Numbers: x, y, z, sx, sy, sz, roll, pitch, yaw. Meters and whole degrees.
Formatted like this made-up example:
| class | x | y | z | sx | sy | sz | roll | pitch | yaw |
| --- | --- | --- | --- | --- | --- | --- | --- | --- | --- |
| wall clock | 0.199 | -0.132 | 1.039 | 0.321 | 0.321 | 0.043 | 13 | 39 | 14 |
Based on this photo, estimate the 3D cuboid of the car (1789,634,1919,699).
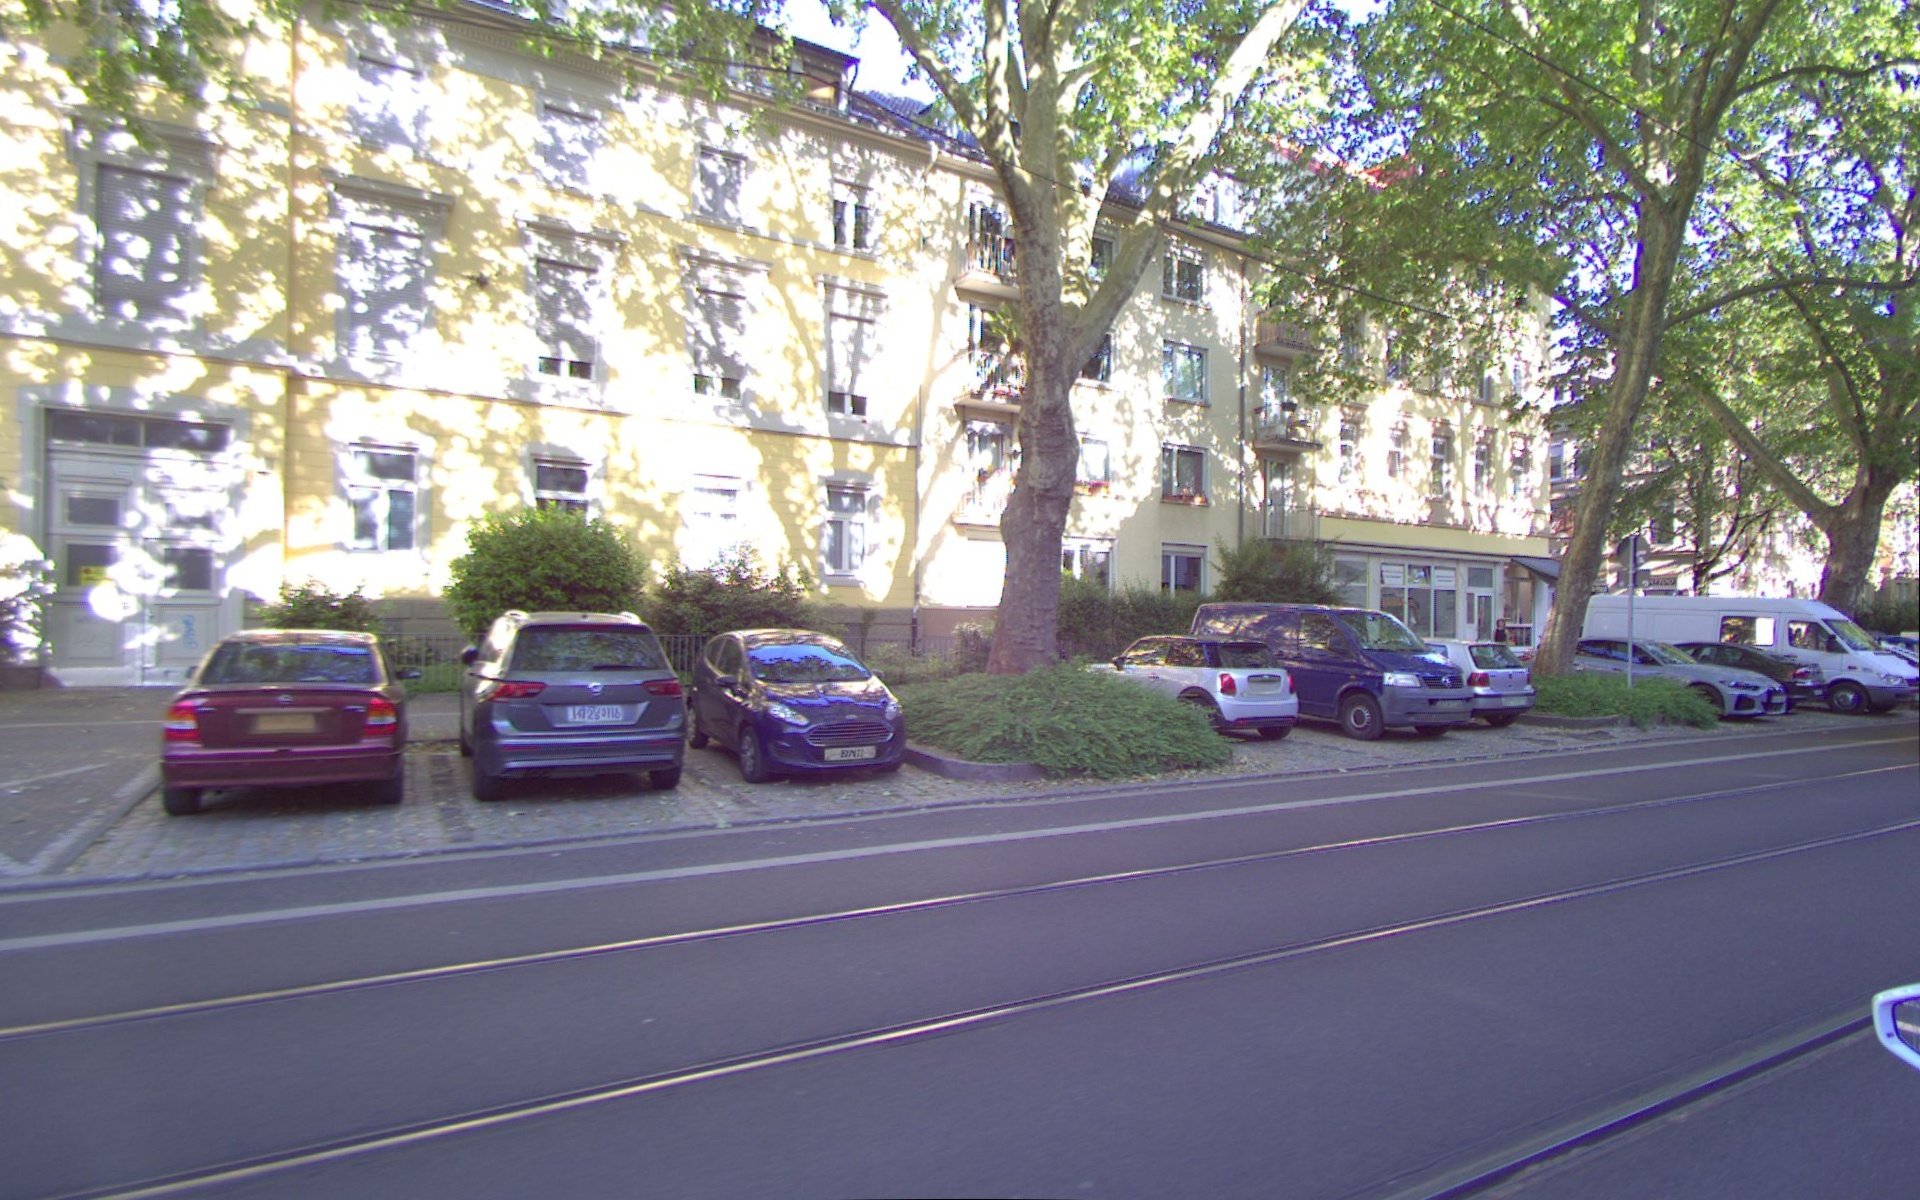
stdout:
| class | x | y | z | sx | sy | sz | roll | pitch | yaw |
| --- | --- | --- | --- | --- | --- | --- | --- | --- | --- |
| car | 24.653 | 1.765 | 26.554 | 1.659 | 1.518 | 3.898 | 2 | 0 | -32 |

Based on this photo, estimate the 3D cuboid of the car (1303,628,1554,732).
| class | x | y | z | sx | sy | sz | roll | pitch | yaw |
| --- | --- | --- | --- | --- | --- | --- | --- | --- | --- |
| car | 8.067 | 1.312 | 17.625 | 1.618 | 1.449 | 3.717 | 2 | 0 | -29 |

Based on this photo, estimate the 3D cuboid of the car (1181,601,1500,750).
| class | x | y | z | sx | sy | sz | roll | pitch | yaw |
| --- | --- | --- | --- | --- | --- | --- | --- | --- | --- |
| car | 5.909 | 1.057 | 16.247 | 1.955 | 1.949 | 4.655 | 2 | 0 | -28 |

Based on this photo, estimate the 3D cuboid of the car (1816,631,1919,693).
| class | x | y | z | sx | sy | sz | roll | pitch | yaw |
| --- | --- | --- | --- | --- | --- | --- | --- | --- | --- |
| car | 26.686 | 1.763 | 28.043 | 1.659 | 1.598 | 3.898 | 2 | 0 | -32 |

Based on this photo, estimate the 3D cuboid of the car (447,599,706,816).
| class | x | y | z | sx | sy | sz | roll | pitch | yaw |
| --- | --- | --- | --- | --- | --- | --- | --- | --- | --- |
| car | -4.052 | 0.881 | 10.181 | 1.857 | 1.648 | 3.976 | 2 | 0 | -30 |

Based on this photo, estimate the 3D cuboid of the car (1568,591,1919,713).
| class | x | y | z | sx | sy | sz | roll | pitch | yaw |
| --- | --- | --- | --- | --- | --- | --- | --- | --- | --- |
| car | 18.639 | 1.079 | 24.085 | 2.428 | 2.441 | 6.598 | 2 | 0 | -29 |

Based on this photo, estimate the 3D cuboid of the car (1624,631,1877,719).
| class | x | y | z | sx | sy | sz | roll | pitch | yaw |
| --- | --- | --- | --- | --- | --- | --- | --- | --- | --- |
| car | 16.714 | 1.520 | 21.425 | 1.659 | 1.518 | 3.898 | 2 | 0 | -32 |

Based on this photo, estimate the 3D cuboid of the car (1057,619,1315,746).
| class | x | y | z | sx | sy | sz | roll | pitch | yaw |
| --- | --- | --- | --- | --- | --- | --- | --- | --- | --- |
| car | 3.253 | 1.130 | 15.156 | 1.726 | 1.518 | 3.717 | 2 | 0 | -29 |

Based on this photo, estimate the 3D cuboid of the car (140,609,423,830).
| class | x | y | z | sx | sy | sz | roll | pitch | yaw |
| --- | --- | --- | --- | --- | --- | --- | --- | --- | --- |
| car | -5.978 | 0.891 | 9.250 | 1.728 | 1.461 | 3.902 | 2 | 0 | -29 |

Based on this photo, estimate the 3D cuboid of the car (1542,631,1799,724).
| class | x | y | z | sx | sy | sz | roll | pitch | yaw |
| --- | --- | --- | --- | --- | --- | --- | --- | --- | --- |
| car | 14.245 | 1.486 | 20.374 | 1.656 | 1.518 | 3.903 | 2 | 0 | -28 |

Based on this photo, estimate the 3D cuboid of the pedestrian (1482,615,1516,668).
| class | x | y | z | sx | sy | sz | roll | pitch | yaw |
| --- | --- | --- | --- | --- | --- | --- | --- | --- | --- |
| pedestrian | 15.971 | 1.230 | 29.753 | 0.623 | 1.518 | 0.655 | 2 | 1 | -40 |

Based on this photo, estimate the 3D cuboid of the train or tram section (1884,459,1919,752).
| class | x | y | z | sx | sy | sz | roll | pitch | yaw |
| --- | --- | --- | --- | --- | --- | --- | --- | --- | --- |
| train or tram section | 18.183 | 0.202 | 15.010 | 12.563 | 3.730 | 2.723 | 2 | -2 | -30 |

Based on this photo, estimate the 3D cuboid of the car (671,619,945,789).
| class | x | y | z | sx | sy | sz | roll | pitch | yaw |
| --- | --- | --- | --- | --- | --- | --- | --- | --- | --- |
| car | -1.907 | 1.020 | 11.482 | 1.797 | 1.440 | 3.901 | 2 | 0 | -30 |
